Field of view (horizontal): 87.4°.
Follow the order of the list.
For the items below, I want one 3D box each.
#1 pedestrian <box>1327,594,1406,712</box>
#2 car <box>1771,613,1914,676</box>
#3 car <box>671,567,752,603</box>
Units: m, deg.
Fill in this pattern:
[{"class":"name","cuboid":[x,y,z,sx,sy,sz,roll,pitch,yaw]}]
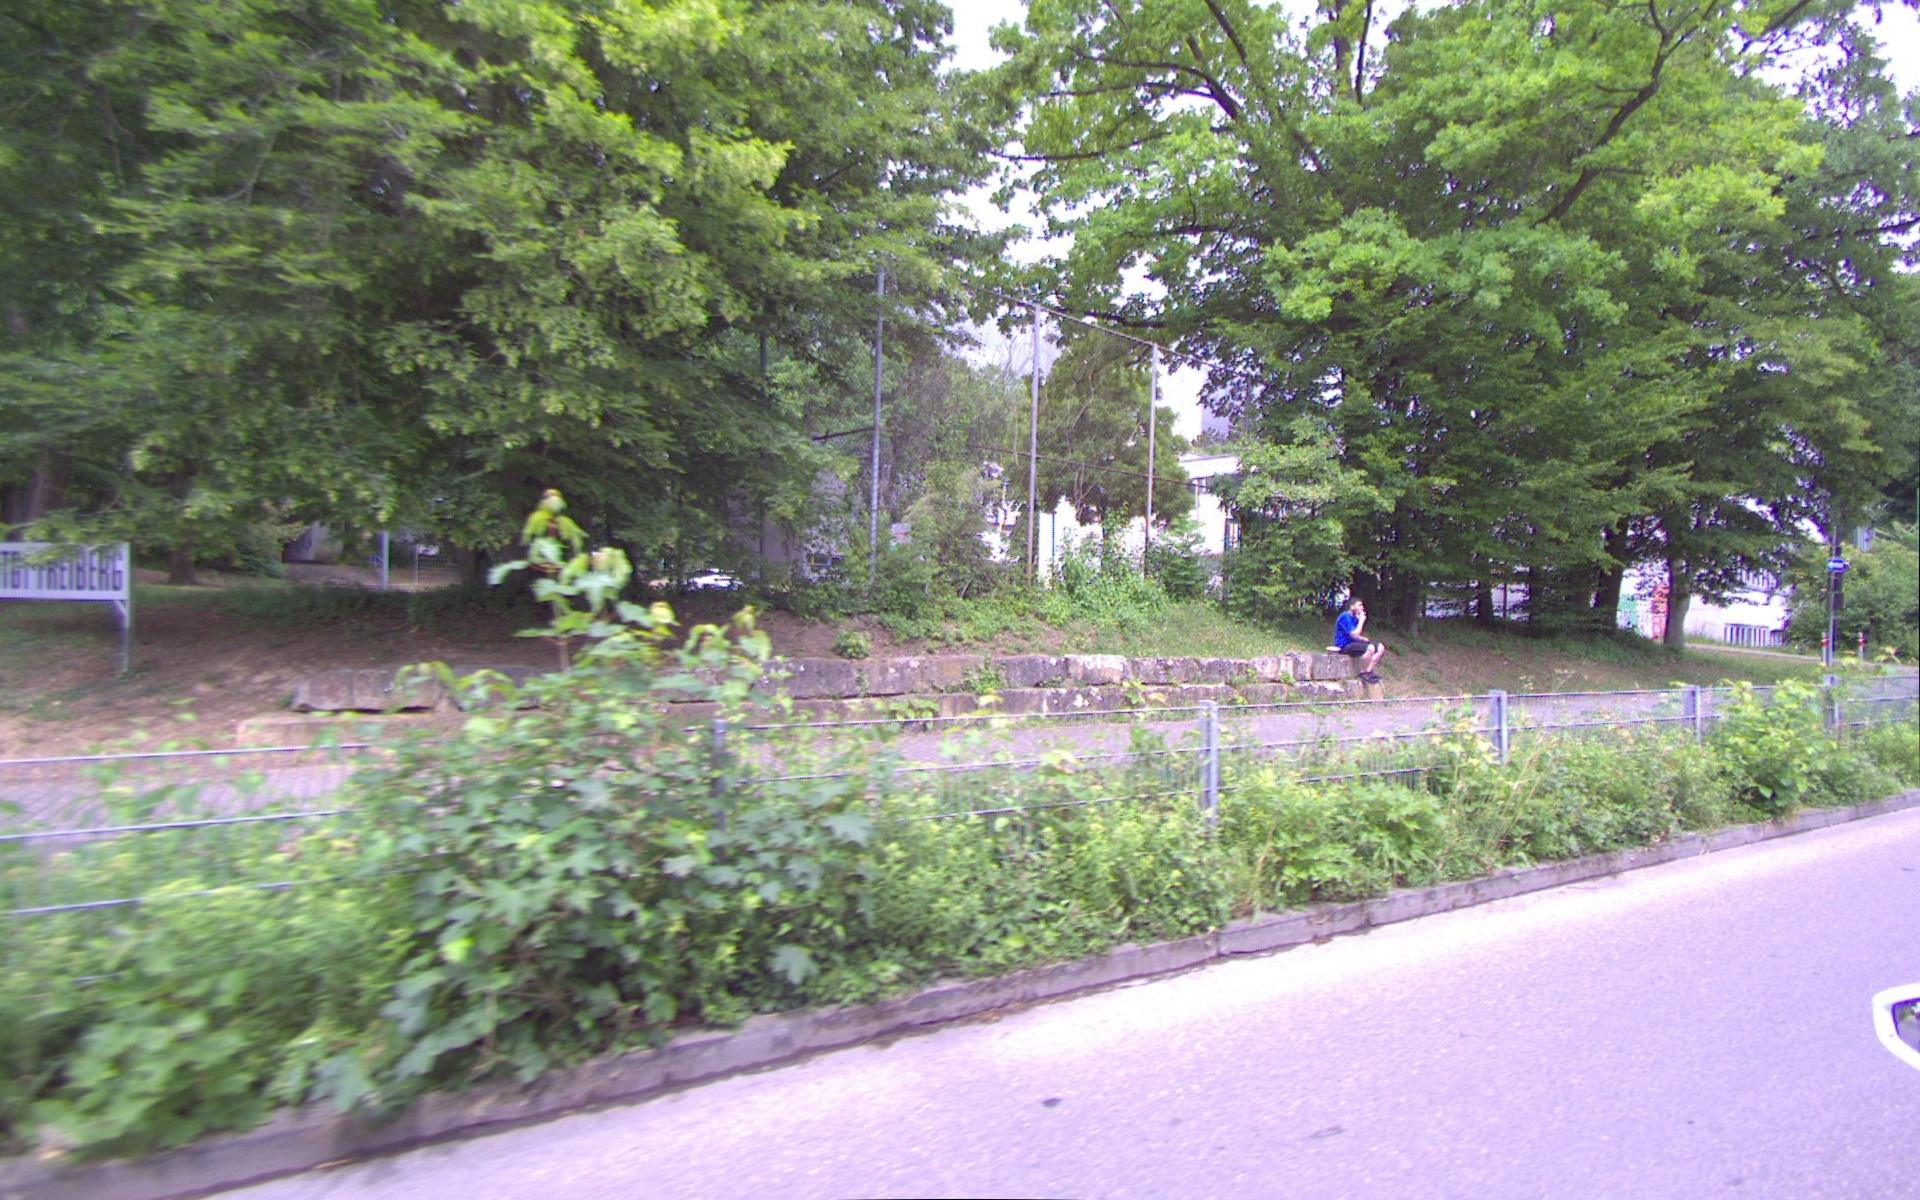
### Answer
[{"class":"pedestrian","cuboid":[6.030,0.770,14.906,0.800,1.684,0.755,1,-1,-32]},{"class":"car","cuboid":[30.131,1.503,34.330,3.937,2.040,1.992,1,-1,-19]},{"class":"car","cuboid":[-12.832,-0.745,51.702,4.385,1.717,1.964,0,-1,42]}]
